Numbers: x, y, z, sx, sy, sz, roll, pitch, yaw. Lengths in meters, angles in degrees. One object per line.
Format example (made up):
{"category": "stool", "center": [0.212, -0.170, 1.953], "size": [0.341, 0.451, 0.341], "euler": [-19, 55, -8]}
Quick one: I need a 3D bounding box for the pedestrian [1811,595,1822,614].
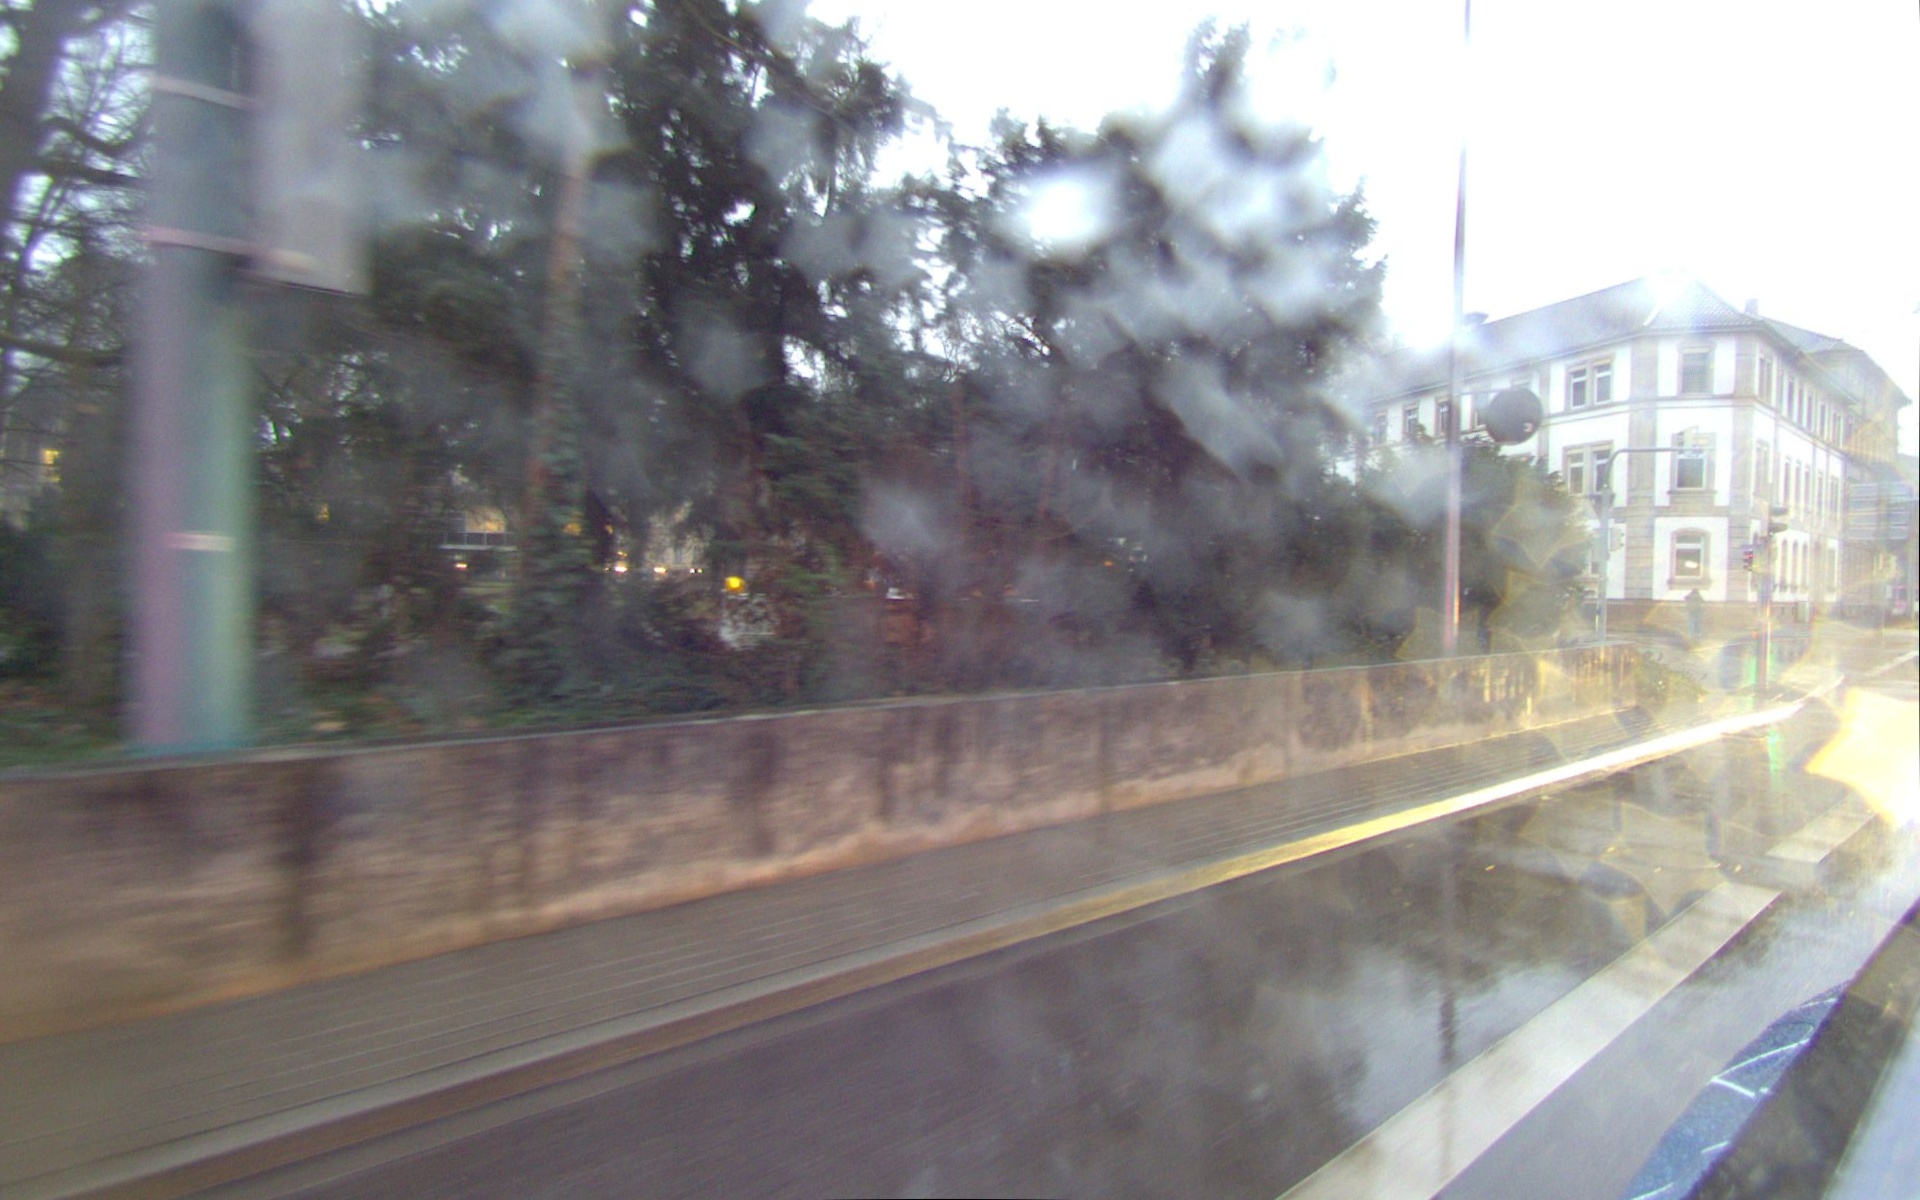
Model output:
{"category": "pedestrian", "center": [40.762, 0.220, 48.169], "size": [0.370, 0.917, 0.325], "euler": [0, 1, -41]}

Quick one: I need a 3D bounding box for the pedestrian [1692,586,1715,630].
{"category": "pedestrian", "center": [26.258, 0.268, 35.750], "size": [0.516, 1.529, 0.583], "euler": [2, 0, 25]}
